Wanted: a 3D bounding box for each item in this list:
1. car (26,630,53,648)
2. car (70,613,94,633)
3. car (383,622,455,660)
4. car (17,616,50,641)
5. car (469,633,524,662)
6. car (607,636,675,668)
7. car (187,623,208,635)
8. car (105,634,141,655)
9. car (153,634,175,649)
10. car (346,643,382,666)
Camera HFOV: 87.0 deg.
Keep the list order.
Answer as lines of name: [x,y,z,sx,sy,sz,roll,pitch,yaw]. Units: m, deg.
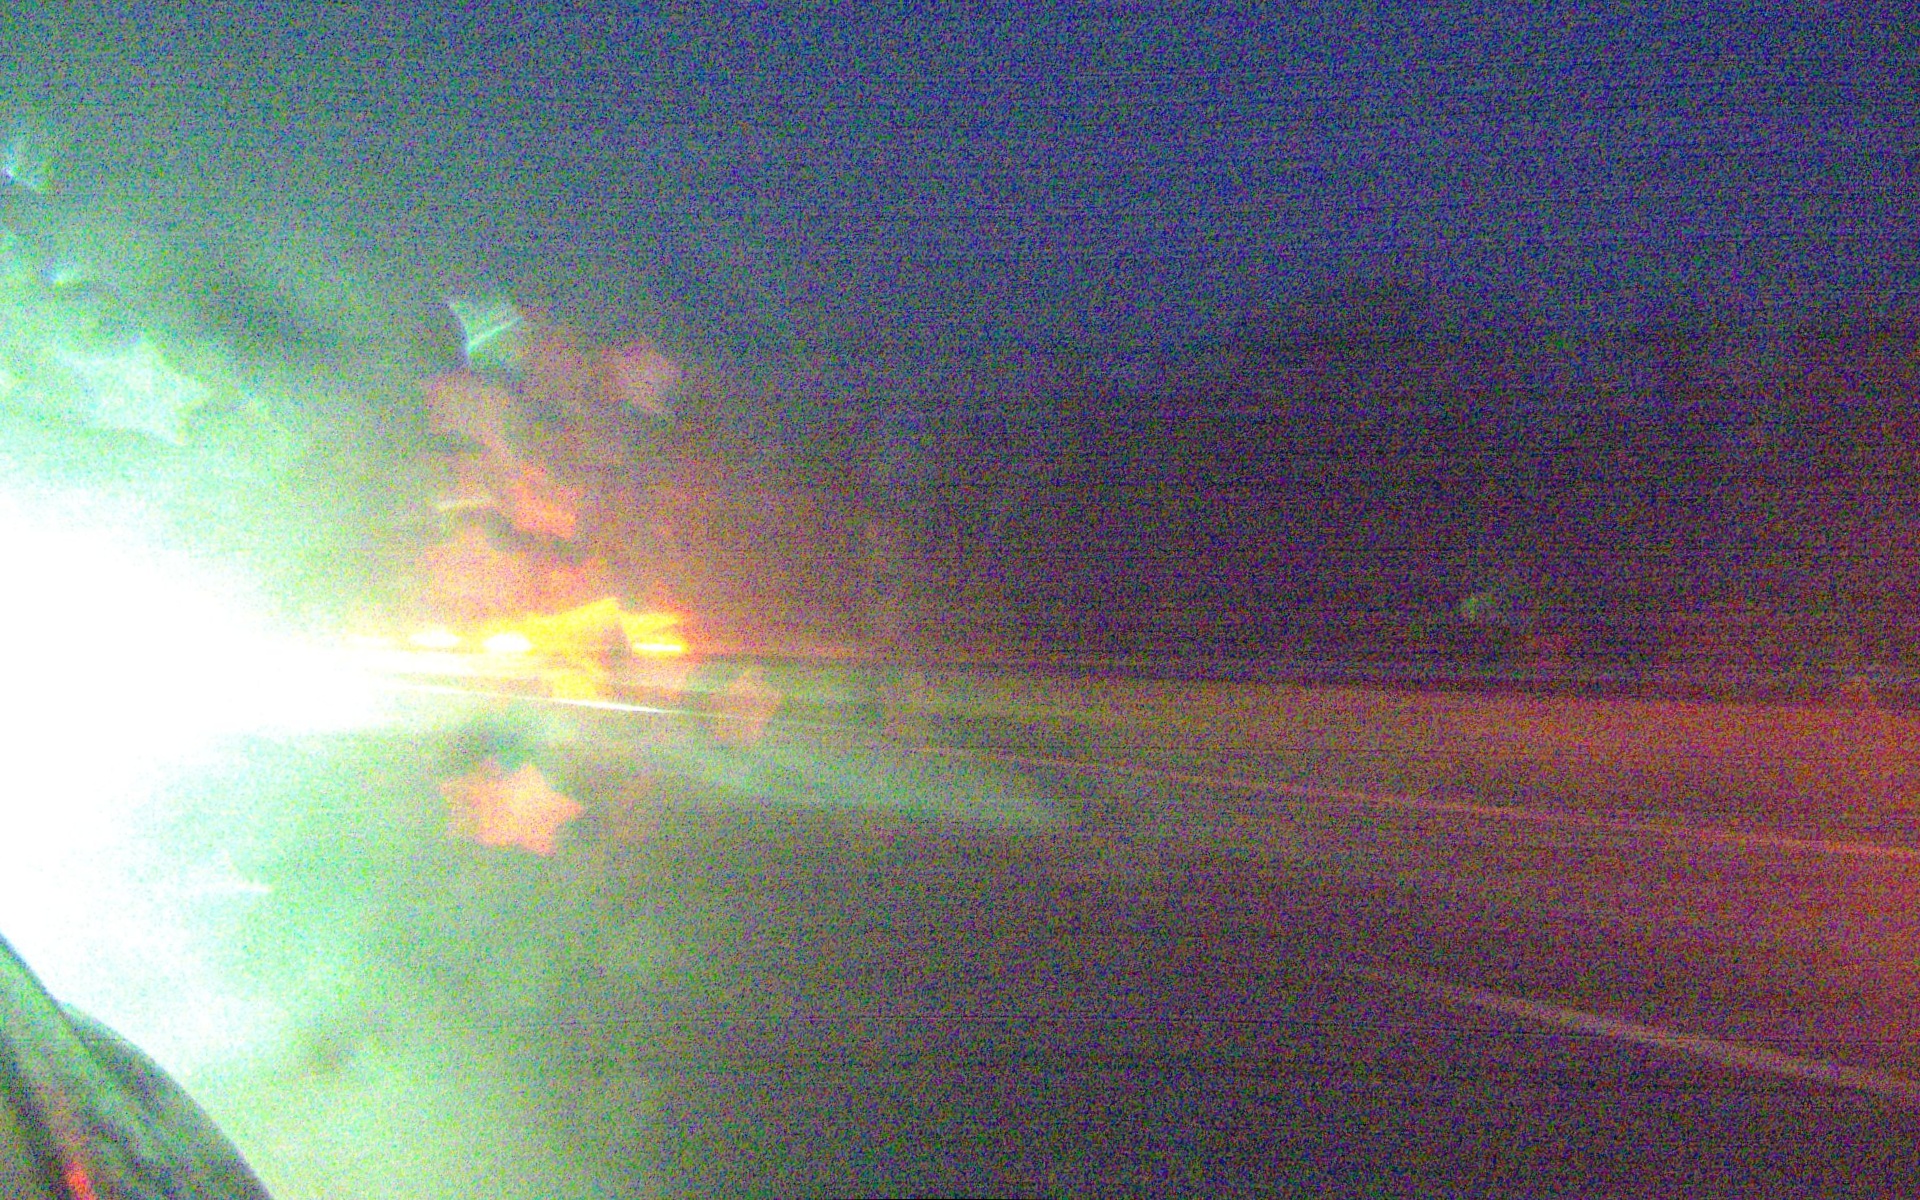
car: [-98.282,4.135,108.023,3.999,1.789,1.722,-1,0,42]
car: [-133.264,3.473,153.575,4.717,2.915,2.132,-1,0,42]
car: [-29.184,2.178,54.533,4.138,1.920,1.890,-1,0,37]
car: [-124.563,3.769,136.019,6.320,3.229,2.679,-1,0,42]
car: [-29.902,3.021,65.247,3.812,1.724,1.850,-1,0,41]
car: [-16.695,2.690,52.852,3.765,1.514,1.666,-1,0,41]
car: [-123.035,4.728,163.318,4.173,1.802,1.870,-1,0,42]
car: [-67.059,3.548,81.071,3.522,1.557,1.700,-1,0,42]
car: [-109.153,5.703,138.769,3.999,1.962,1.799,-1,0,42]
car: [-48.425,4.420,82.213,3.411,1.705,1.619,-1,0,42]
